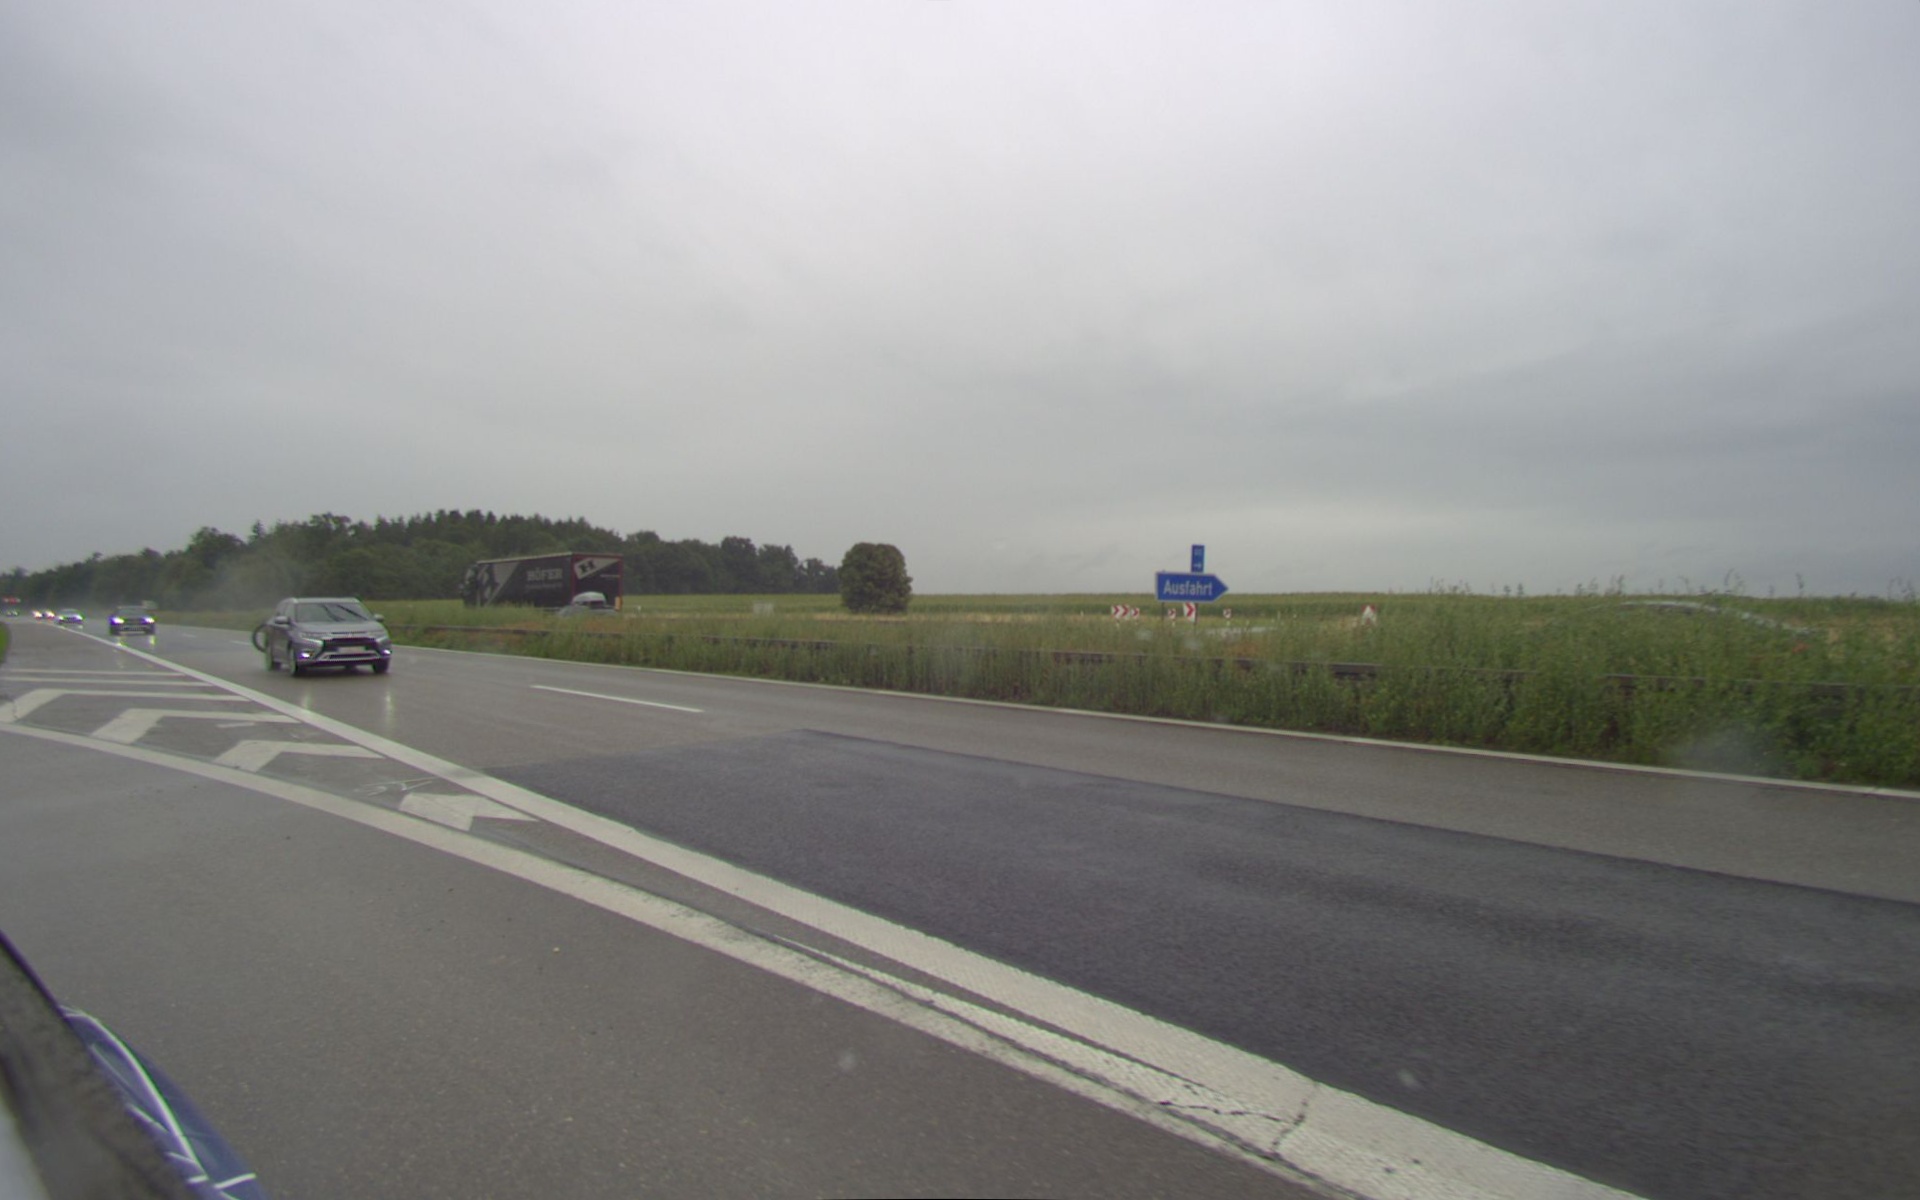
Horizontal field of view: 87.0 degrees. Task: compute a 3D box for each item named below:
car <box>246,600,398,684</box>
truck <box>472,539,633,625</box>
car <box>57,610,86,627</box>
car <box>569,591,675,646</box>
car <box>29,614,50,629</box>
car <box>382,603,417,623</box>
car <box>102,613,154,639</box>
[{"bbox_3d":[-14.258,0.861,22.470,1.841,1.646,5.105,-1,0,-44],"label":"car"},{"bbox_3d":[-21.838,-0.854,53.406,3.156,3.996,13.829,-3,2,-42],"label":"truck"},{"bbox_3d":[-88.677,1.836,100.964,2.119,1.648,4.600,1,-1,-42],"label":"car"},{"bbox_3d":[-12.810,0.657,38.182,2.080,1.889,4.536,-2,1,-43],"label":"car"},{"bbox_3d":[-134.682,3.173,148.075,1.968,2.029,4.647,3,-4,-40],"label":"car"},{"bbox_3d":[-51.698,1.240,93.280,4.001,1.750,1.710,-1,0,44],"label":"car"},{"bbox_3d":[-48.719,1.496,59.229,2.068,1.465,4.600,1,-1,-42],"label":"car"}]
